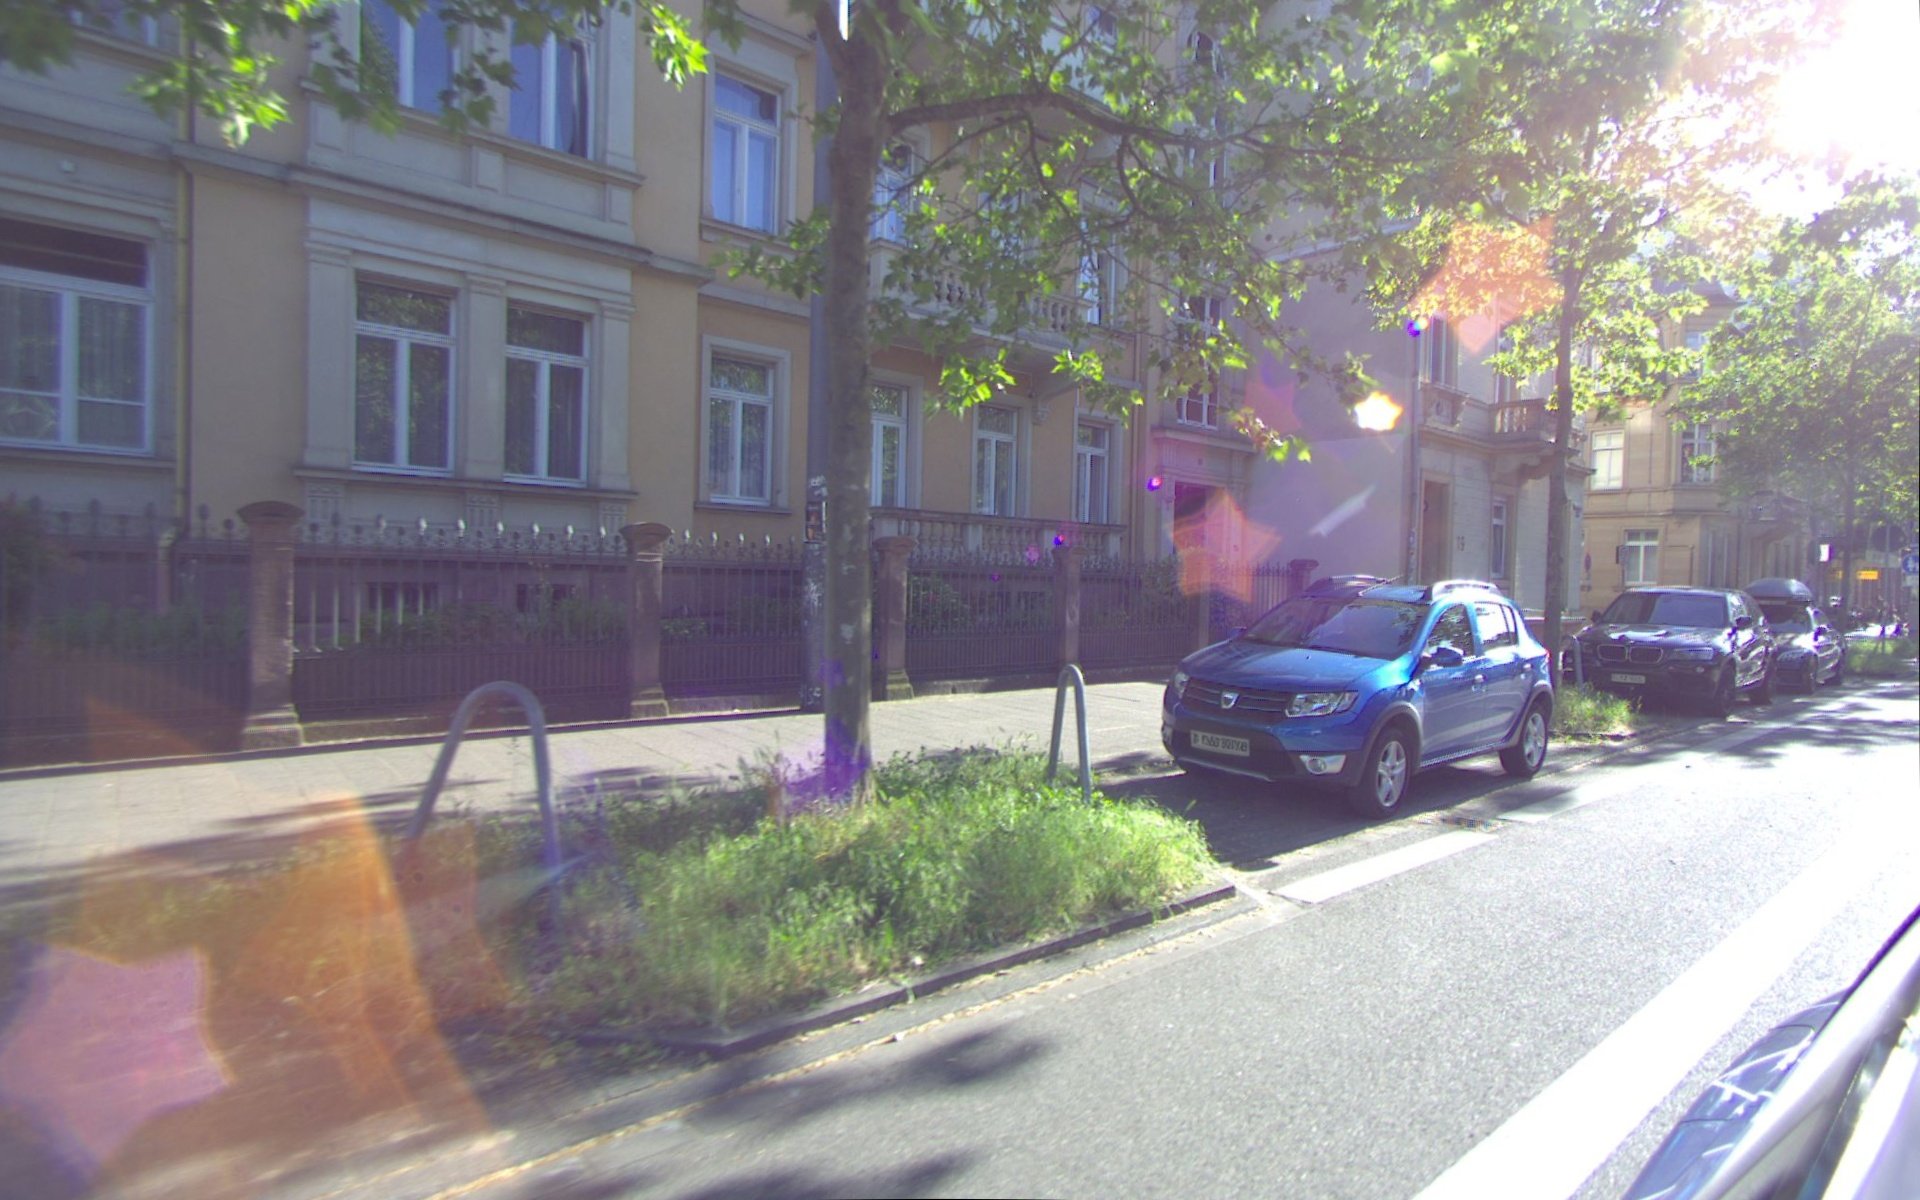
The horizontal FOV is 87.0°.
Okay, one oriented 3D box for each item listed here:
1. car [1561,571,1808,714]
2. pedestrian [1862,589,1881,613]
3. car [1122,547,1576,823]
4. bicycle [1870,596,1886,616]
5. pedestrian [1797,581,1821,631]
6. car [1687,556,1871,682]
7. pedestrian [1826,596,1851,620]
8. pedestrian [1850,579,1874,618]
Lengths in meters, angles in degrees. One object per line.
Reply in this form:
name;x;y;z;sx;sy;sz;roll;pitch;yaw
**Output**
car;10.404;0.479;14.385;4.654;1.721;1.801;0;1;-41
pedestrian;44.021;0.042;48.881;0.644;1.176;0.602;0;-1;39
car;3.263;0.519;8.110;3.968;1.679;1.695;1;1;-41
bicycle;47.439;0.307;52.304;1.659;1.006;0.443;1;-1;-42
pedestrian;31.718;0.216;37.800;0.943;1.850;0.564;1;-1;-44
car;14.803;0.296;18.199;4.654;1.989;1.758;0;1;-41
pedestrian;42.249;0.389;48.687;0.643;1.176;0.671;0;-1;14
pedestrian;43.116;-0.084;48.380;0.758;1.834;0.470;0;-1;-9
